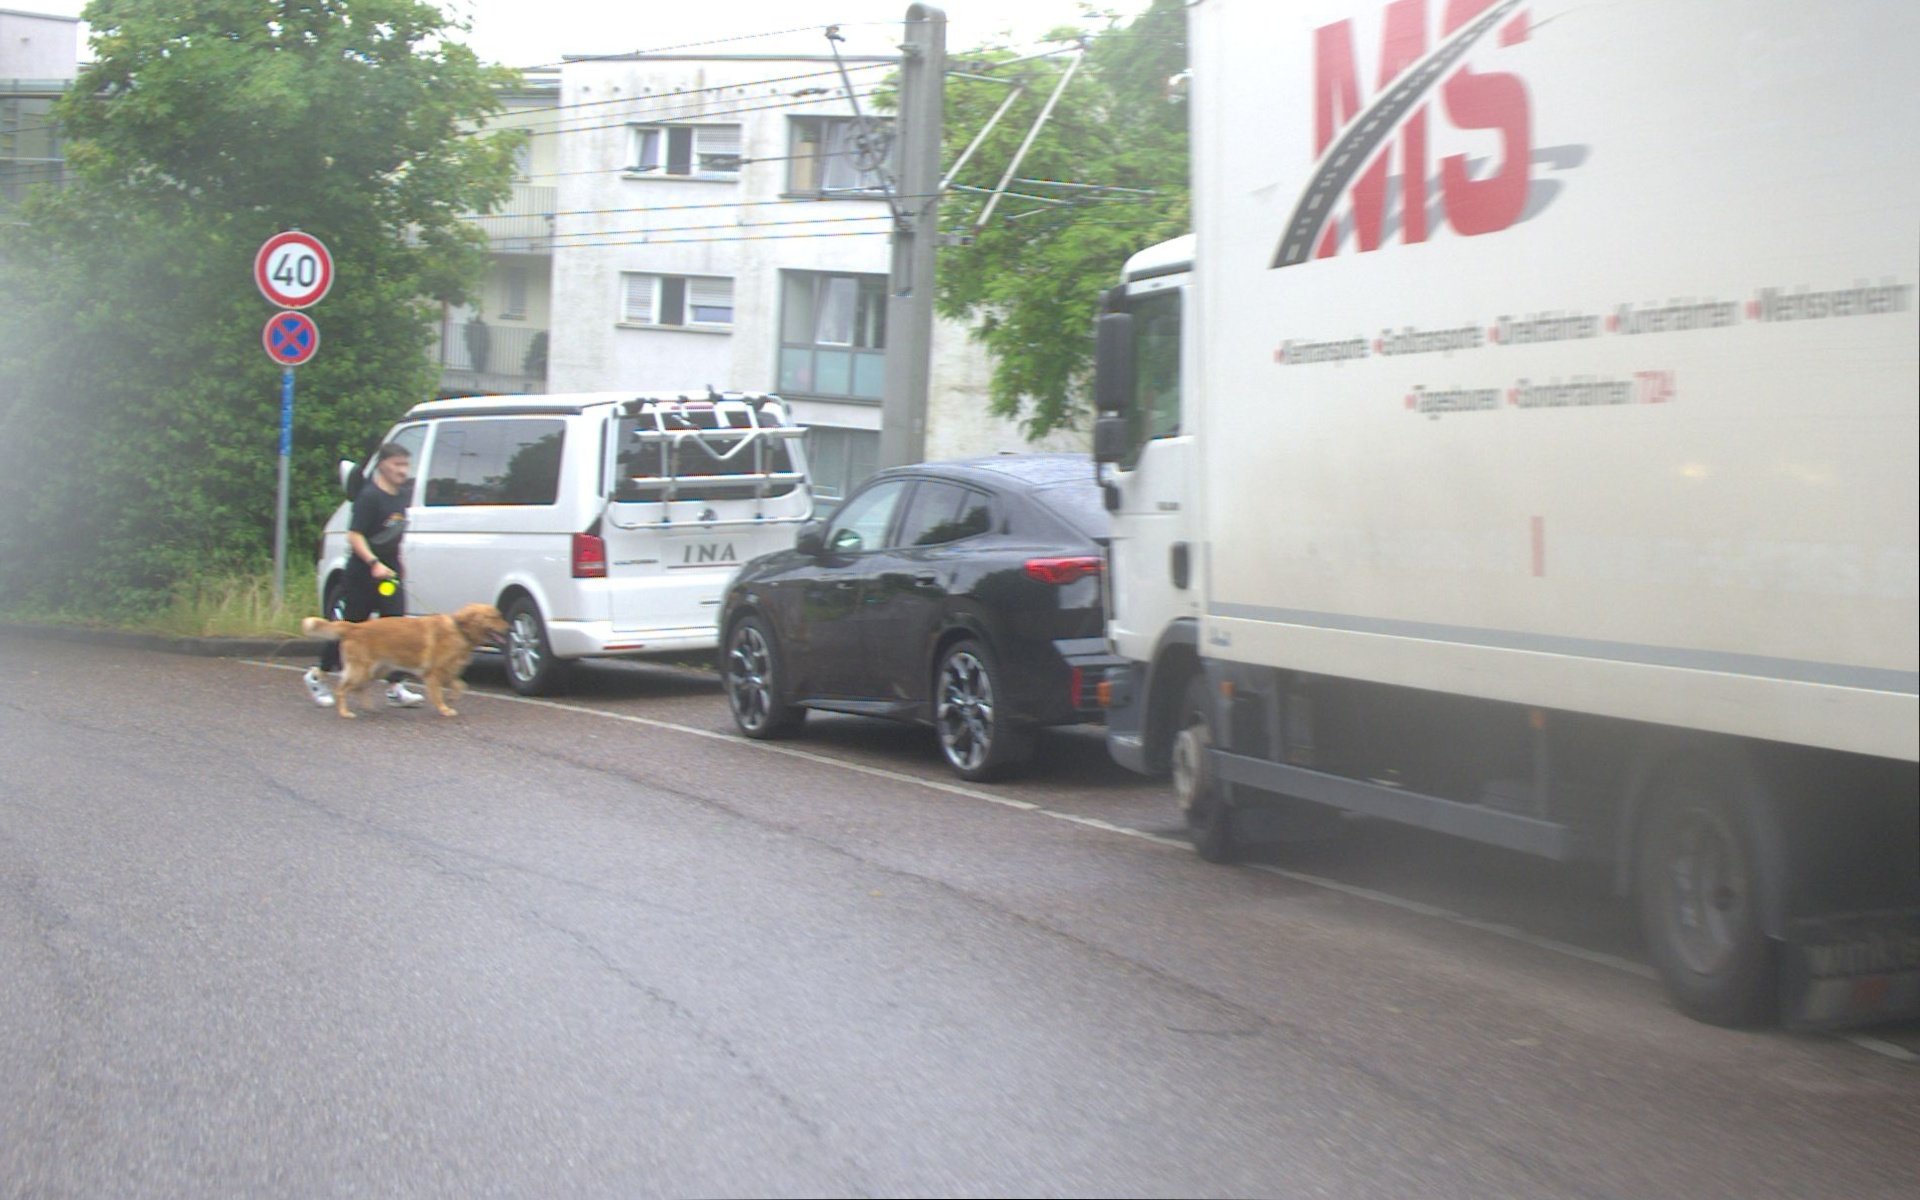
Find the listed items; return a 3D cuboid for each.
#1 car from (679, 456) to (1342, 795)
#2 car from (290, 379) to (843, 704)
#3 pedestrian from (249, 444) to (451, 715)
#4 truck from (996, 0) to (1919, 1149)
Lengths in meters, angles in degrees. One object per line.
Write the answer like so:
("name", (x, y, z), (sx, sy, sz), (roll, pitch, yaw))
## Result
("car", (0.127, 0.027, 18.330), (1.718, 1.550, 4.278), (-2, 3, -27))
("car", (-2.849, -0.477, 23.893), (1.877, 2.006, 4.691), (-3, 4, -33))
("pedestrian", (-3.883, -0.152, 21.900), (0.924, 1.655, 0.803), (1, 5, 35))
("truck", (2.743, -0.671, 11.351), (3.006, 3.561, 8.340), (-1, 2, -16))
